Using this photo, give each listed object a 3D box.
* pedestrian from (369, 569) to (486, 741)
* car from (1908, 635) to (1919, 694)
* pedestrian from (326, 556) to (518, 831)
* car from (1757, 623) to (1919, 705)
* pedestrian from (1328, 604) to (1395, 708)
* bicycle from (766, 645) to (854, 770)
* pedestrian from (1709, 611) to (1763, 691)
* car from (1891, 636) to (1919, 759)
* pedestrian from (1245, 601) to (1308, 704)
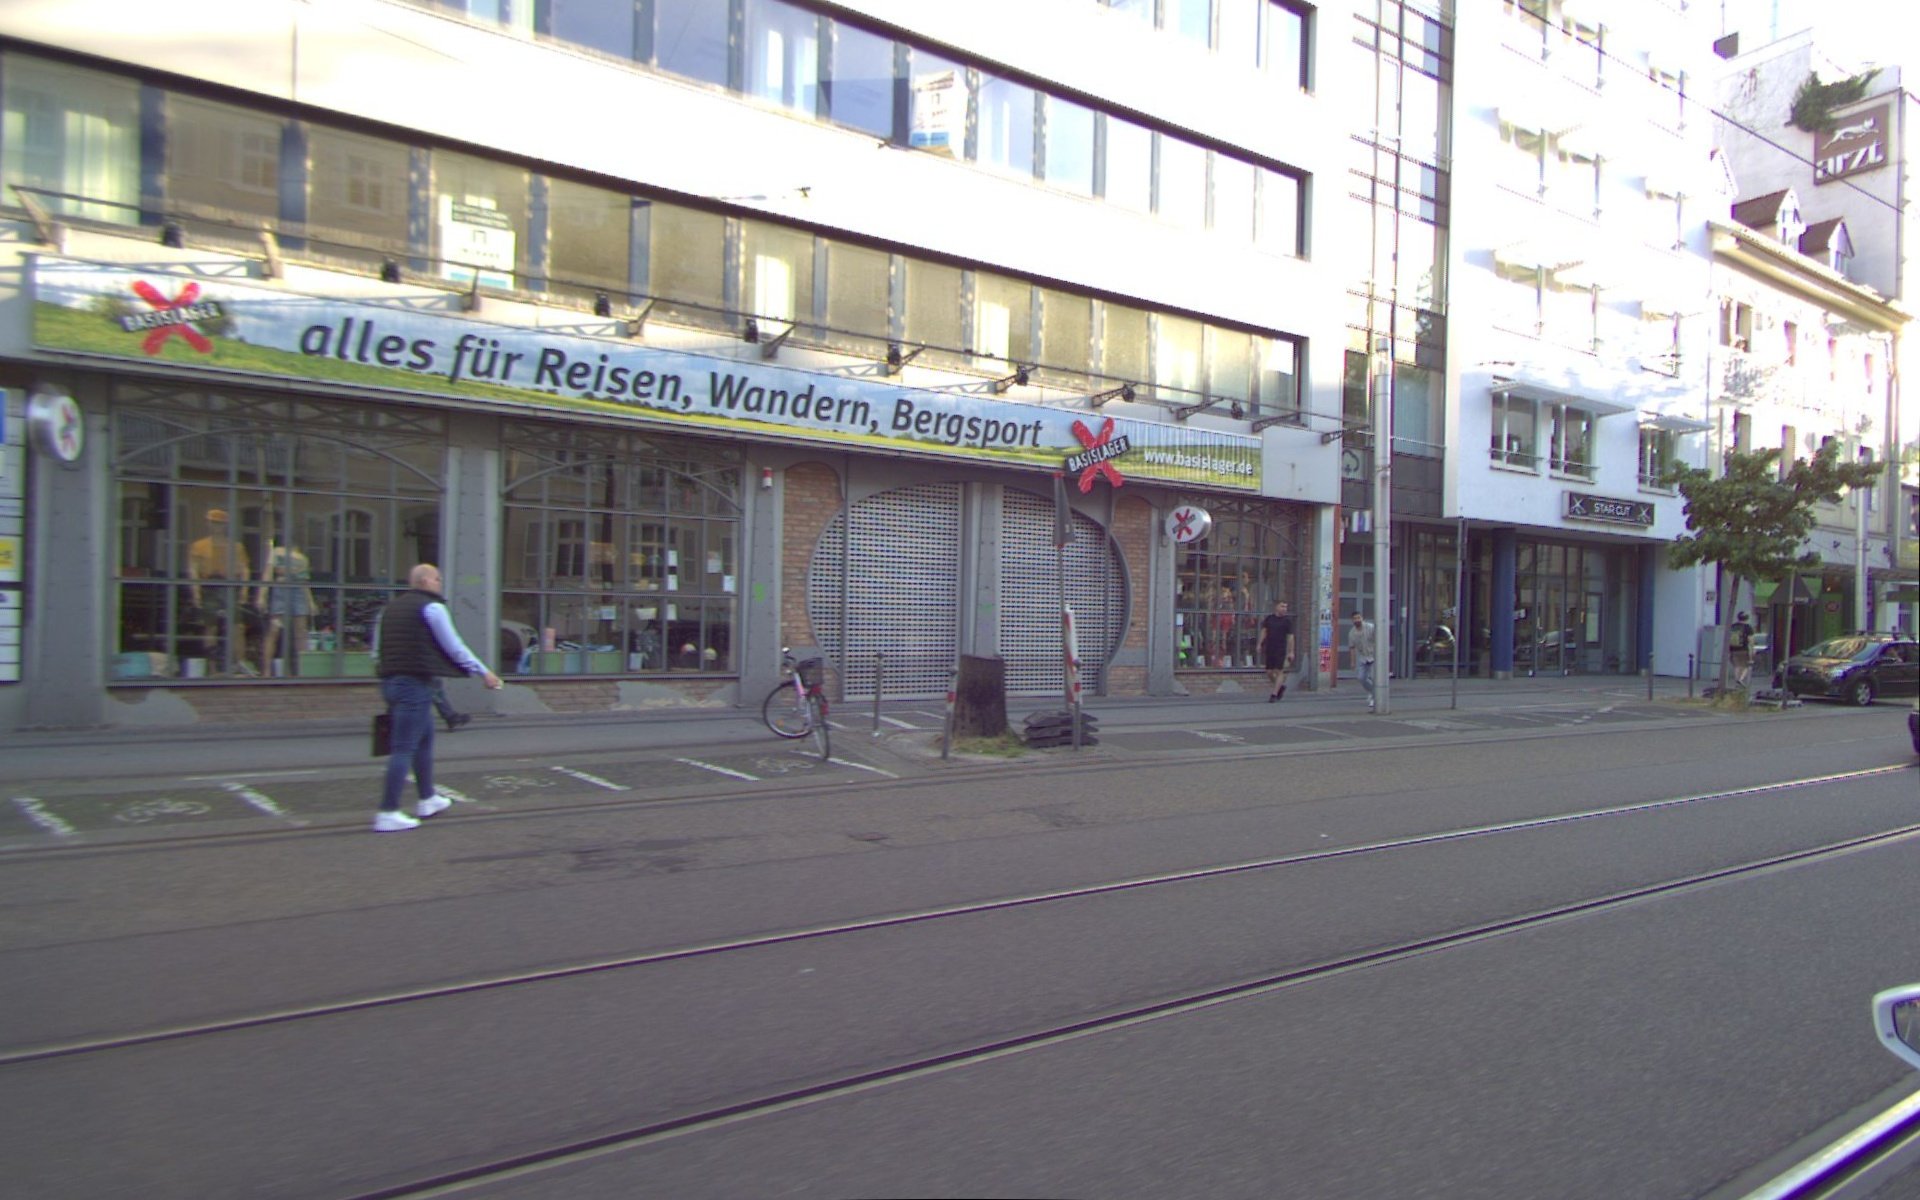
[{"bbox_3d":[-5.679,0.560,10.716,1.025,1.718,0.828,1,2,-30],"label":"pedestrian"},{"bbox_3d":[26.739,1.738,26.492,4.202,1.510,1.779,2,1,-37],"label":"car"},{"bbox_3d":[-3.728,0.617,7.032,0.836,1.790,0.832,1,0,4],"label":"pedestrian"},{"bbox_3d":[19.907,1.398,22.265,3.647,1.638,1.630,2,1,-16],"label":"car"},{"bbox_3d":[6.926,0.955,17.321,0.818,1.736,0.639,1,1,-26],"label":"pedestrian"},{"bbox_3d":[-1.565,1.044,10.249,0.471,1.005,1.741,1,3,-22],"label":"bicycle"},{"bbox_3d":[18.637,1.206,24.130,0.868,1.850,0.656,1,2,-30],"label":"pedestrian"},{"bbox_3d":[13.435,1.196,12.423,4.479,1.426,1.769,2,-1,-33],"label":"car"},{"bbox_3d":[5.498,0.900,17.453,0.797,1.736,0.625,1,1,-26],"label":"pedestrian"}]
